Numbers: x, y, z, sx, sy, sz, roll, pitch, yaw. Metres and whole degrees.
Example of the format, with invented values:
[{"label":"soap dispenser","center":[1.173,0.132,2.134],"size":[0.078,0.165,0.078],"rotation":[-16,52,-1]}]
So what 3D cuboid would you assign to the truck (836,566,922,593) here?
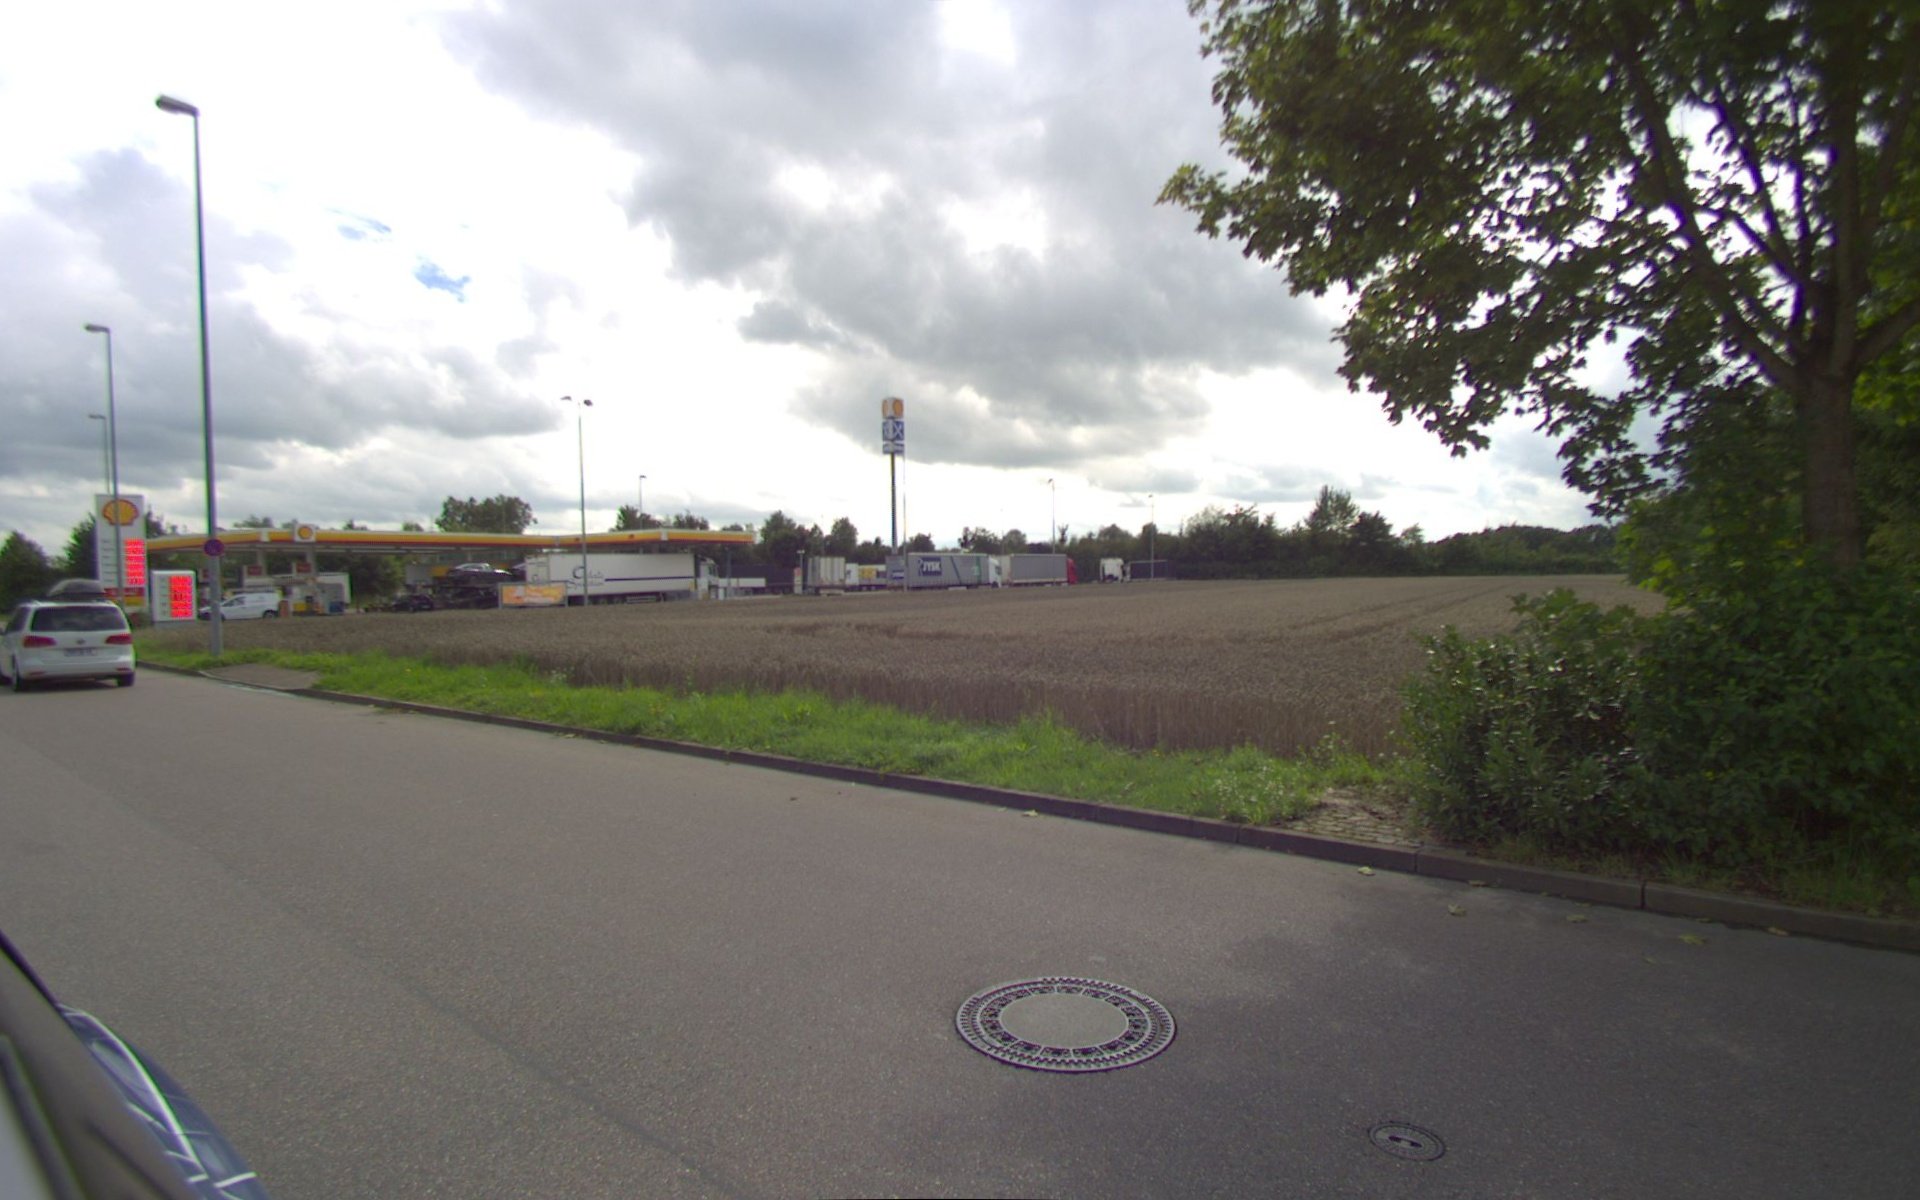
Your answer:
[{"label":"truck","center":[-12.255,-3.116,153.543],"size":[12.595,3.922,2.832],"rotation":[-1,1,-13]}]

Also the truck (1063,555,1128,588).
[{"label":"truck","center":[17.213,-3.641,127.285],"size":[2.817,3.922,12.662],"rotation":[0,2,34]}]

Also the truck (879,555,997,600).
[{"label":"truck","center":[-1.710,-2.231,95.576],"size":[2.817,3.922,15.283],"rotation":[0,2,34]}]

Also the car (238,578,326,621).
[{"label":"car","center":[-47.356,-0.104,70.863],"size":[2.193,2.807,5.808],"rotation":[-2,1,0]}]

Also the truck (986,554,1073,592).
[{"label":"truck","center":[7.887,-3.019,111.432],"size":[2.815,3.922,15.296],"rotation":[0,2,32]}]

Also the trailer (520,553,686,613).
[{"label":"trailer","center":[-26.163,-1.368,75.342],"size":[2.703,4.055,12.710],"rotation":[-1,1,32]}]

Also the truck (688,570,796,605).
[{"label":"truck","center":[-26.356,-1.563,122.484],"size":[12.595,3.922,2.832],"rotation":[-1,1,-13]}]

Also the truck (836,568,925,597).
[{"label":"truck","center":[-11.649,-2.550,147.950],"size":[12.595,3.922,2.832],"rotation":[-1,1,-13]}]

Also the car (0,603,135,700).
[{"label":"car","center":[-17.482,0.913,19.574],"size":[4.030,1.678,1.681],"rotation":[-1,0,41]}]

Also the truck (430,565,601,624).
[{"label":"truck","center":[-32.391,-0.579,74.788],"size":[2.736,3.952,13.152],"rotation":[0,2,24]}]

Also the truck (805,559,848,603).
[{"label":"truck","center":[-13.798,-1.961,103.457],"size":[2.914,4.143,14.789],"rotation":[-1,2,-13]}]

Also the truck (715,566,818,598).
[{"label":"truck","center":[-24.799,-2.345,129.851],"size":[12.799,3.922,2.831],"rotation":[-1,1,-12]}]

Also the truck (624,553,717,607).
[{"label":"truck","center":[-22.935,-1.635,80.563],"size":[2.704,4.055,7.092],"rotation":[-1,1,32]}]
